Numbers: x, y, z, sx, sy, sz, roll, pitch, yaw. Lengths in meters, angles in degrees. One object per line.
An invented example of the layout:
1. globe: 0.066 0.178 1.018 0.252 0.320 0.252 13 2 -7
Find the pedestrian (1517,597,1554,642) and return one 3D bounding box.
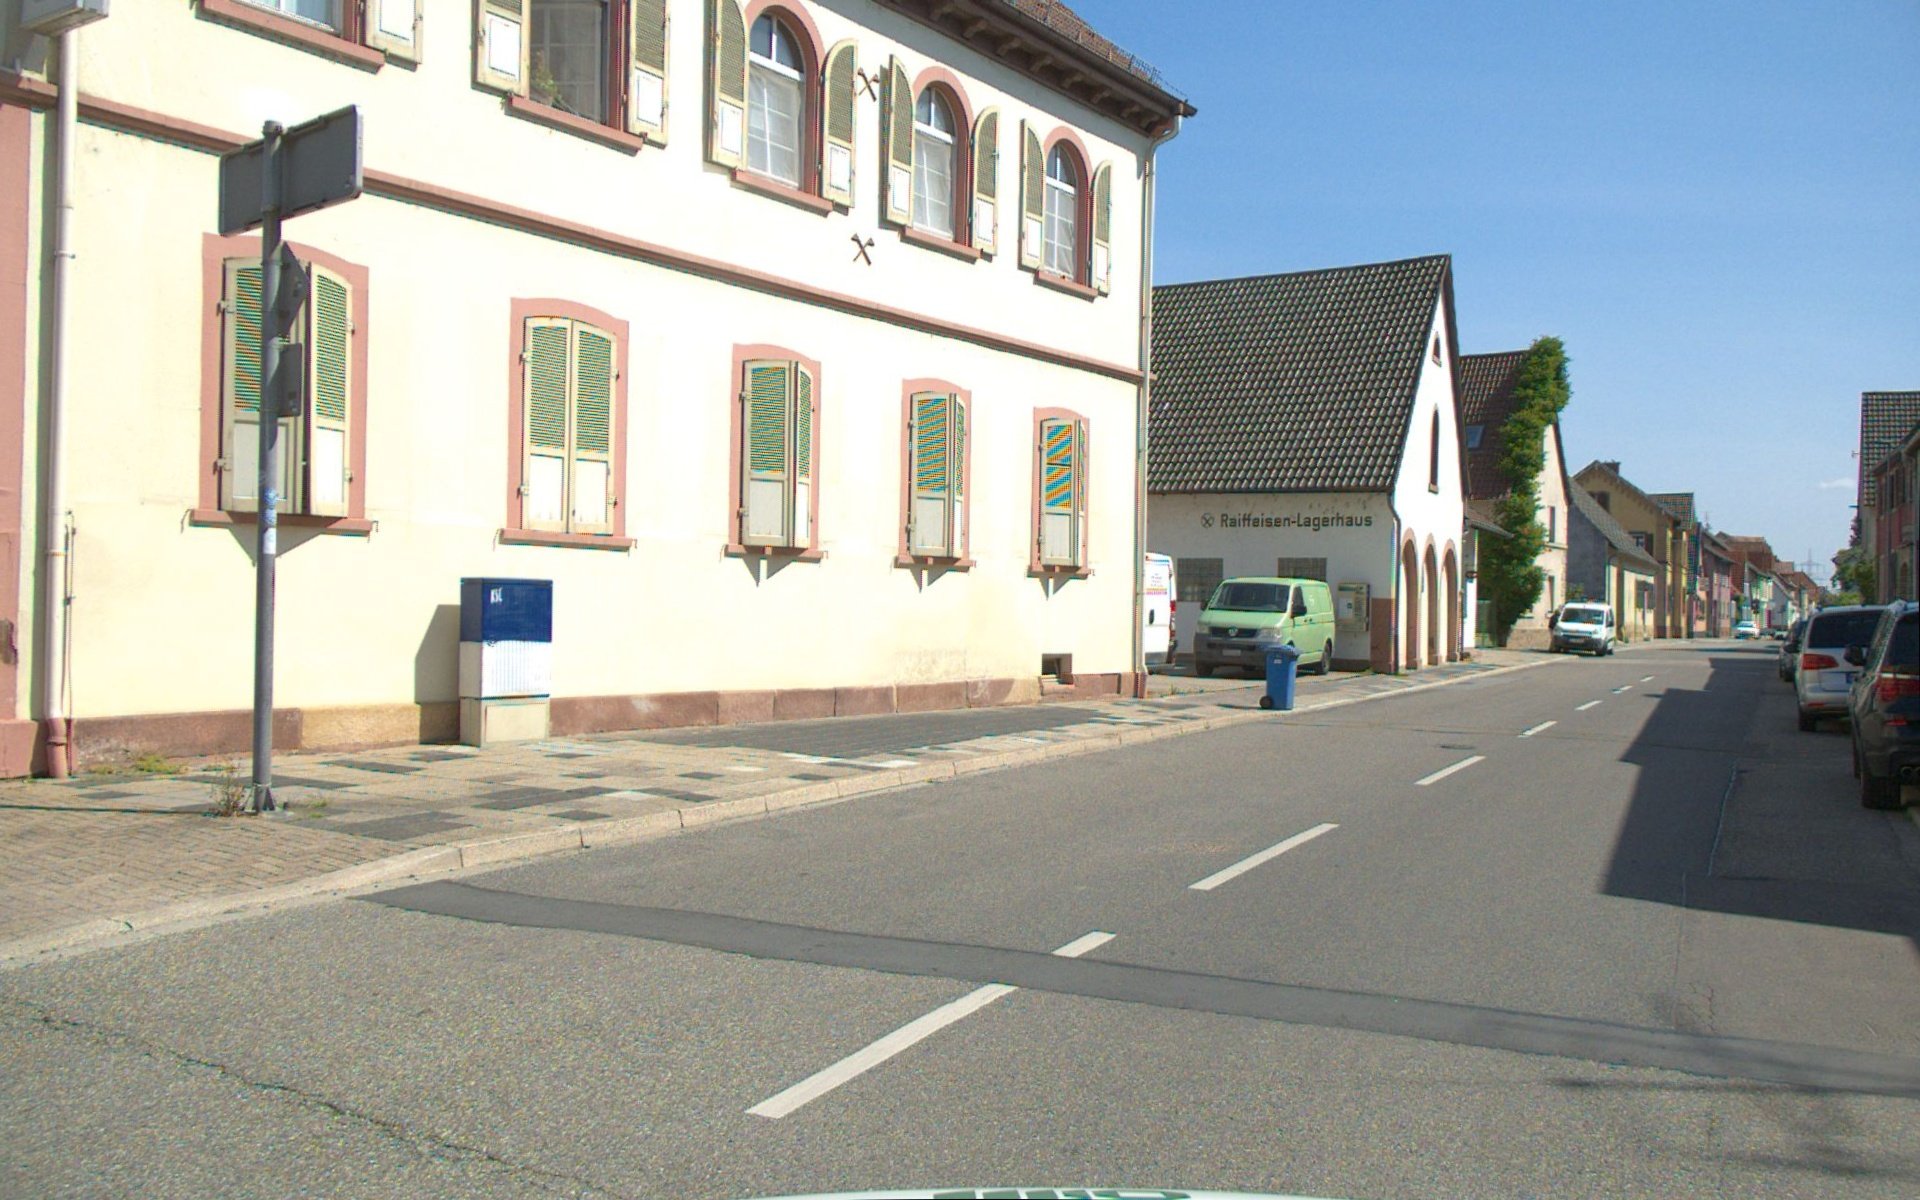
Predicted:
1. pedestrian: 20.763 0.715 59.653 1.114 1.579 1.016 1 0 25

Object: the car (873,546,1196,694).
1. car: 1.175 0.258 27.708 5.091 2.235 2.114 2 0 37

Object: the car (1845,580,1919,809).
1. car: 8.930 0.713 14.578 1.808 1.732 5.174 -1 -1 27

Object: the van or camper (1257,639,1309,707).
1. van or camper: 4.772 1.071 24.430 0.579 0.968 0.598 1 0 32

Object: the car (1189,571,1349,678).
1. car: 6.377 0.474 33.718 1.955 1.999 4.663 1 0 27

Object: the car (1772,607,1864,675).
1. car: 20.063 0.933 38.814 1.664 1.495 4.407 0 -1 24

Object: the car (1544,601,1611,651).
1. car: 21.830 0.890 58.370 1.818 1.676 4.426 1 0 25

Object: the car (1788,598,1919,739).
1. car: 12.682 0.887 23.201 1.861 1.758 4.244 1 0 26
